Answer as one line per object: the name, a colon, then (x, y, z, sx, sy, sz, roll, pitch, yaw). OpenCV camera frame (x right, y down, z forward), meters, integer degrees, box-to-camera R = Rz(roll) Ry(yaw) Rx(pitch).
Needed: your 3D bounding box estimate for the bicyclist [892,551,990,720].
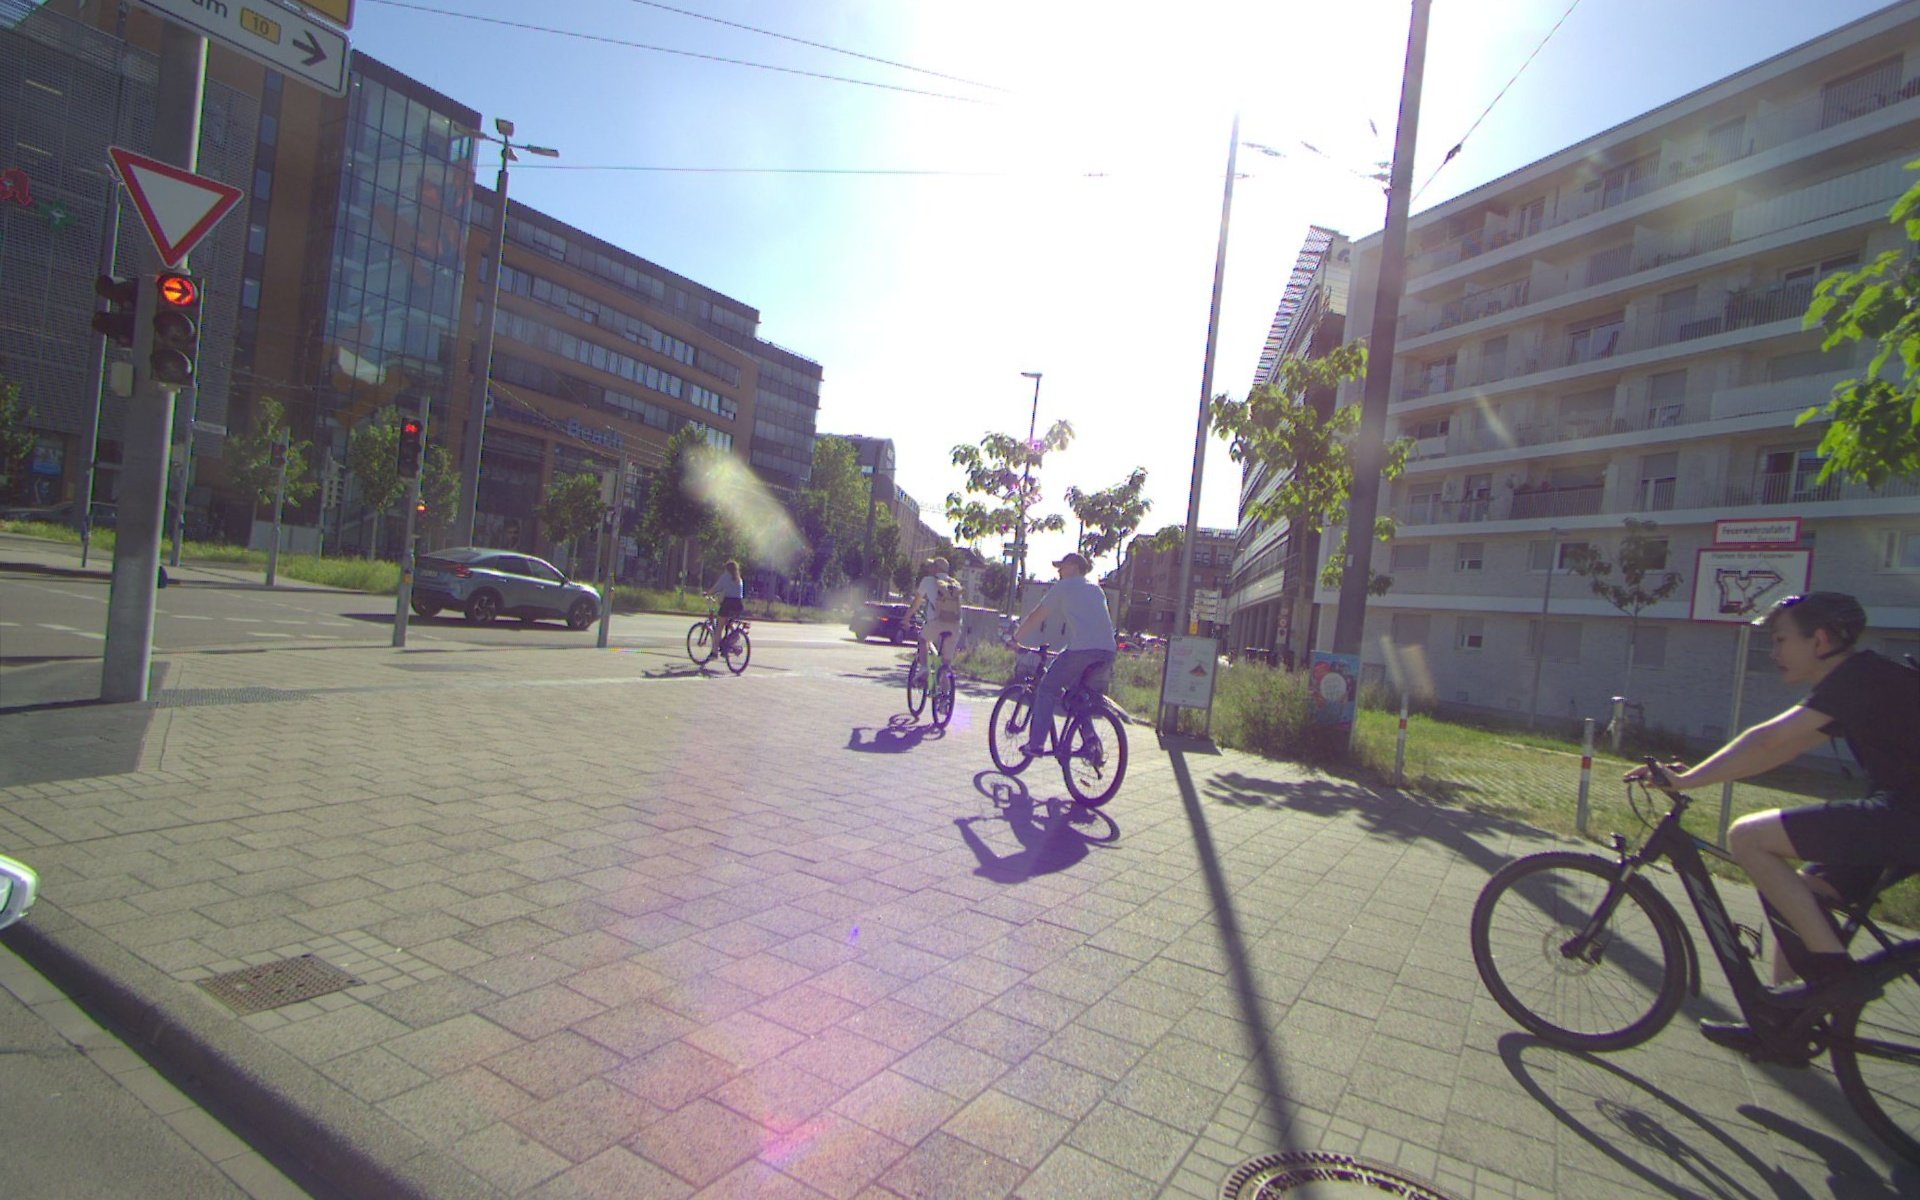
bicyclist: (-0.232, 0.369, 11.256, 0.705, 1.748, 1.090, 6, 2, -14)

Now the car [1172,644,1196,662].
car: (22.344, 5.318, 100.369, 1.677, 1.515, 4.281, 7, -2, 19)

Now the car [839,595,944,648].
car: (-2.430, 0.856, 37.044, 1.800, 1.479, 4.684, 7, -1, 23)

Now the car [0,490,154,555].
car: (-32.072, -2.770, 36.318, 1.810, 1.484, 4.161, 6, -5, 30)

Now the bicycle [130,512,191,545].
bicycle: (-40.523, -3.612, 51.023, 0.595, 1.310, 2.260, 7, -2, 30)

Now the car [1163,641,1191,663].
car: (18.043, 4.338, 83.500, 1.677, 1.515, 4.281, 7, -2, 19)

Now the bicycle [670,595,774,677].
bicycle: (-3.635, 0.528, 15.288, 0.664, 1.084, 1.800, 7, -3, -41)

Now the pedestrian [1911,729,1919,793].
pedestrian: (20.736, 3.248, 20.929, 0.970, 1.719, 0.842, 6, 2, -16)

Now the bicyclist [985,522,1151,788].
bicyclist: (0.811, 0.418, 7.637, 0.802, 1.888, 0.744, 6, -1, -31)

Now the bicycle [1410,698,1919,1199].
bicycle: (2.725, 1.079, 3.251, 2.126, 1.212, 0.634, 6, 0, 44)

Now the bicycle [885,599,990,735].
bicycle: (-0.298, 0.709, 11.374, 0.705, 1.344, 1.744, 6, 0, -14)

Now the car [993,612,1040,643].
car: (3.737, 1.820, 65.380, 1.901, 1.728, 4.686, 7, 0, 16)

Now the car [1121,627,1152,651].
car: (13.971, 3.081, 79.480, 1.677, 1.515, 4.281, 7, -2, 19)

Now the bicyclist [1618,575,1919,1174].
bicyclist: (2.825, 0.804, 3.216, 0.958, 1.649, 0.628, 7, 0, 44)

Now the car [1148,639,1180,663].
car: (15.706, 3.946, 77.375, 1.677, 1.515, 4.281, 7, -2, 19)

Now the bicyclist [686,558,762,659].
bicyclist: (-3.596, 0.124, 15.306, 0.664, 1.453, 0.930, 6, -1, -41)

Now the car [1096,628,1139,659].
car: (9.487, 2.634, 60.236, 1.675, 1.591, 4.874, 7, -1, 18)

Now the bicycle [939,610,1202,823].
bicycle: (0.756, 0.817, 7.751, 0.751, 1.316, 2.137, 6, -1, -31)

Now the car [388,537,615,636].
car: (-9.547, -0.208, 21.375, 1.678, 1.531, 4.280, 7, -2, 22)
